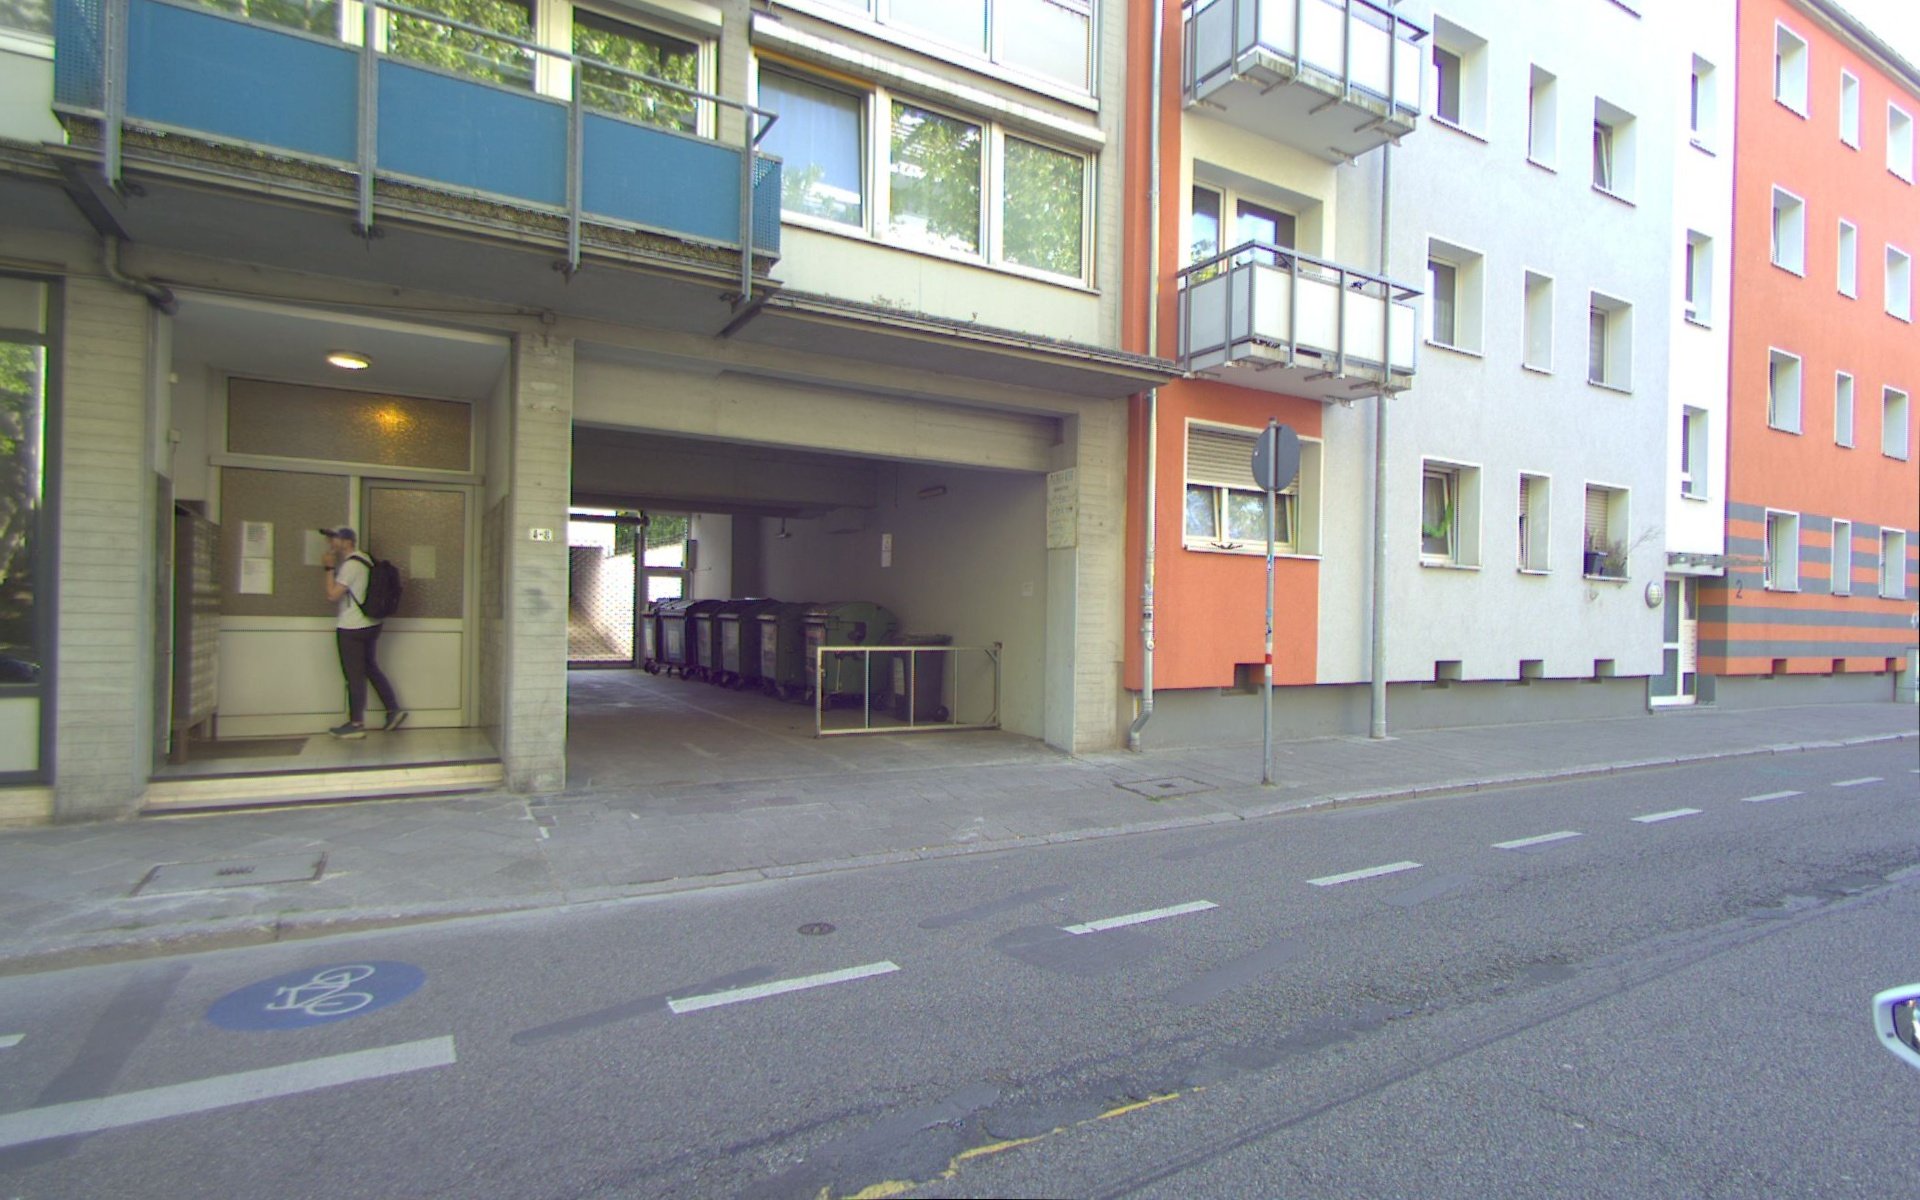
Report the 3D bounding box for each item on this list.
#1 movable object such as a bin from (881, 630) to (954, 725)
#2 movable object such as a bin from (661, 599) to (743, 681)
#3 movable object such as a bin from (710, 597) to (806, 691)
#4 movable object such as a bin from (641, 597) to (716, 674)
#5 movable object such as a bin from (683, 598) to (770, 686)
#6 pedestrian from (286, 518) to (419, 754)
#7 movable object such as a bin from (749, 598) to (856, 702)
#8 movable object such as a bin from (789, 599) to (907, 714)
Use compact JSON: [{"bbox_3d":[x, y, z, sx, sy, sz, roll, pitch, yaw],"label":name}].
[{"bbox_3d":[-0.523,0.947,12.412,0.745,1.116,0.463,2,0,-30],"label":"movable object such as a bin"},{"bbox_3d":[-4.827,0.729,18.755,1.186,1.467,1.222,2,0,-30],"label":"movable object such as a bin"},{"bbox_3d":[-3.357,0.706,16.622,1.186,1.467,1.319,2,0,-30],"label":"movable object such as a bin"},{"bbox_3d":[-5.603,0.693,19.984,1.186,1.467,1.027,2,0,-30],"label":"movable object such as a bin"},{"bbox_3d":[-4.128,0.727,17.713,1.186,1.467,1.114,2,0,-30],"label":"movable object such as a bin"},{"bbox_3d":[-5.180,0.291,8.585,0.572,1.904,0.783,2,0,37],"label":"pedestrian"},{"bbox_3d":[-2.390,0.728,15.138,1.186,1.467,1.319,2,0,-30],"label":"movable object such as a bin"},{"bbox_3d":[-1.550,0.747,13.804,1.159,1.467,1.319,2,0,-30],"label":"movable object such as a bin"}]
